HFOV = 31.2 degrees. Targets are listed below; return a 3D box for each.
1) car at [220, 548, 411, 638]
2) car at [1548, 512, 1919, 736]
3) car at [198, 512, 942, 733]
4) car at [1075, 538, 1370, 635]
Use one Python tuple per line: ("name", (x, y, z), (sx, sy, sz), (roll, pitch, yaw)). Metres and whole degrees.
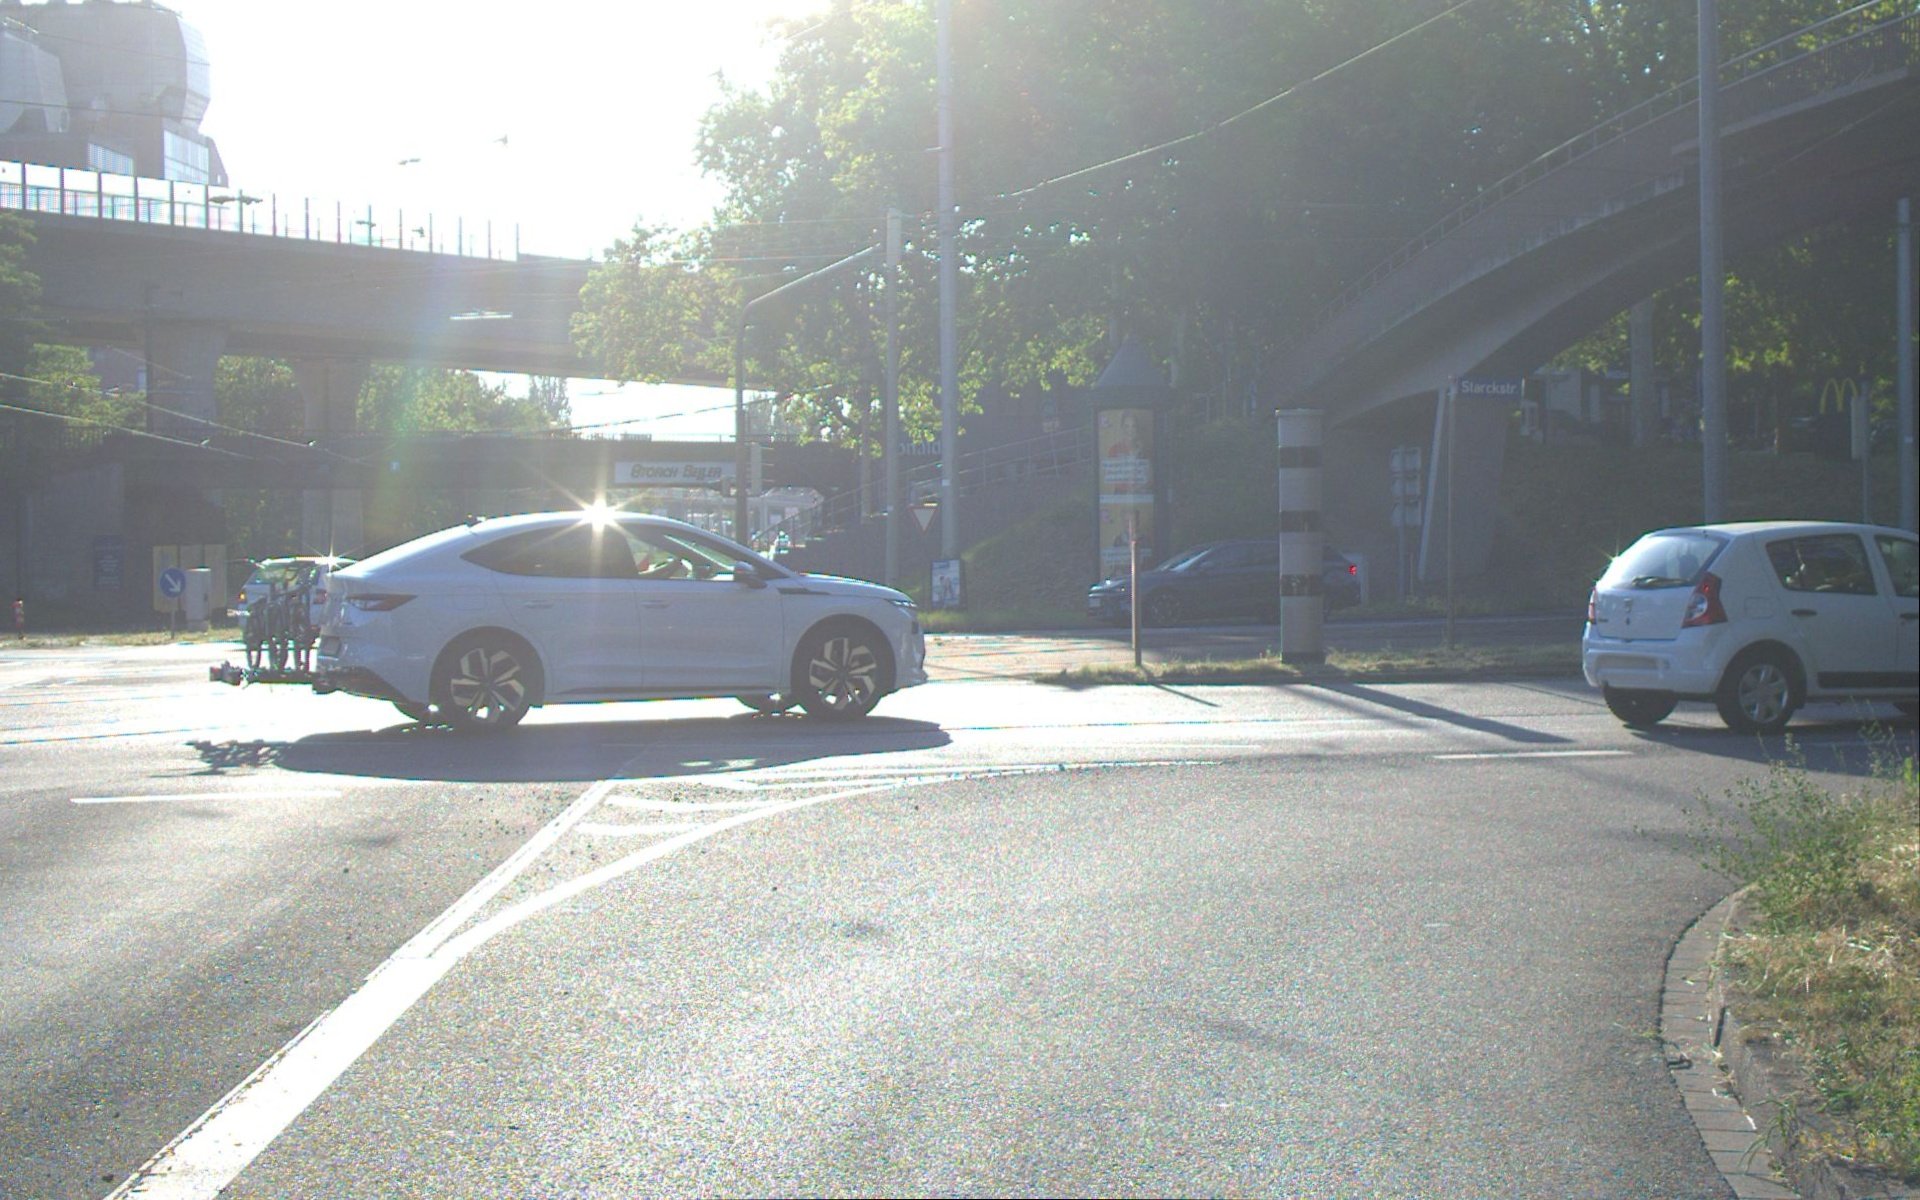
("car", (-10.485, -0.144, 56.189), (1.666, 1.400, 4.195), (1, 1, 10))
("car", (6.551, 0.146, 25.579), (3.986, 1.569, 1.694), (0, 1, -22))
("car", (-2.948, 0.137, 26.098), (5.348, 1.569, 1.741), (0, 1, -21))
("car", (4.359, -0.220, 57.090), (4.574, 1.569, 1.694), (0, 1, -17))
